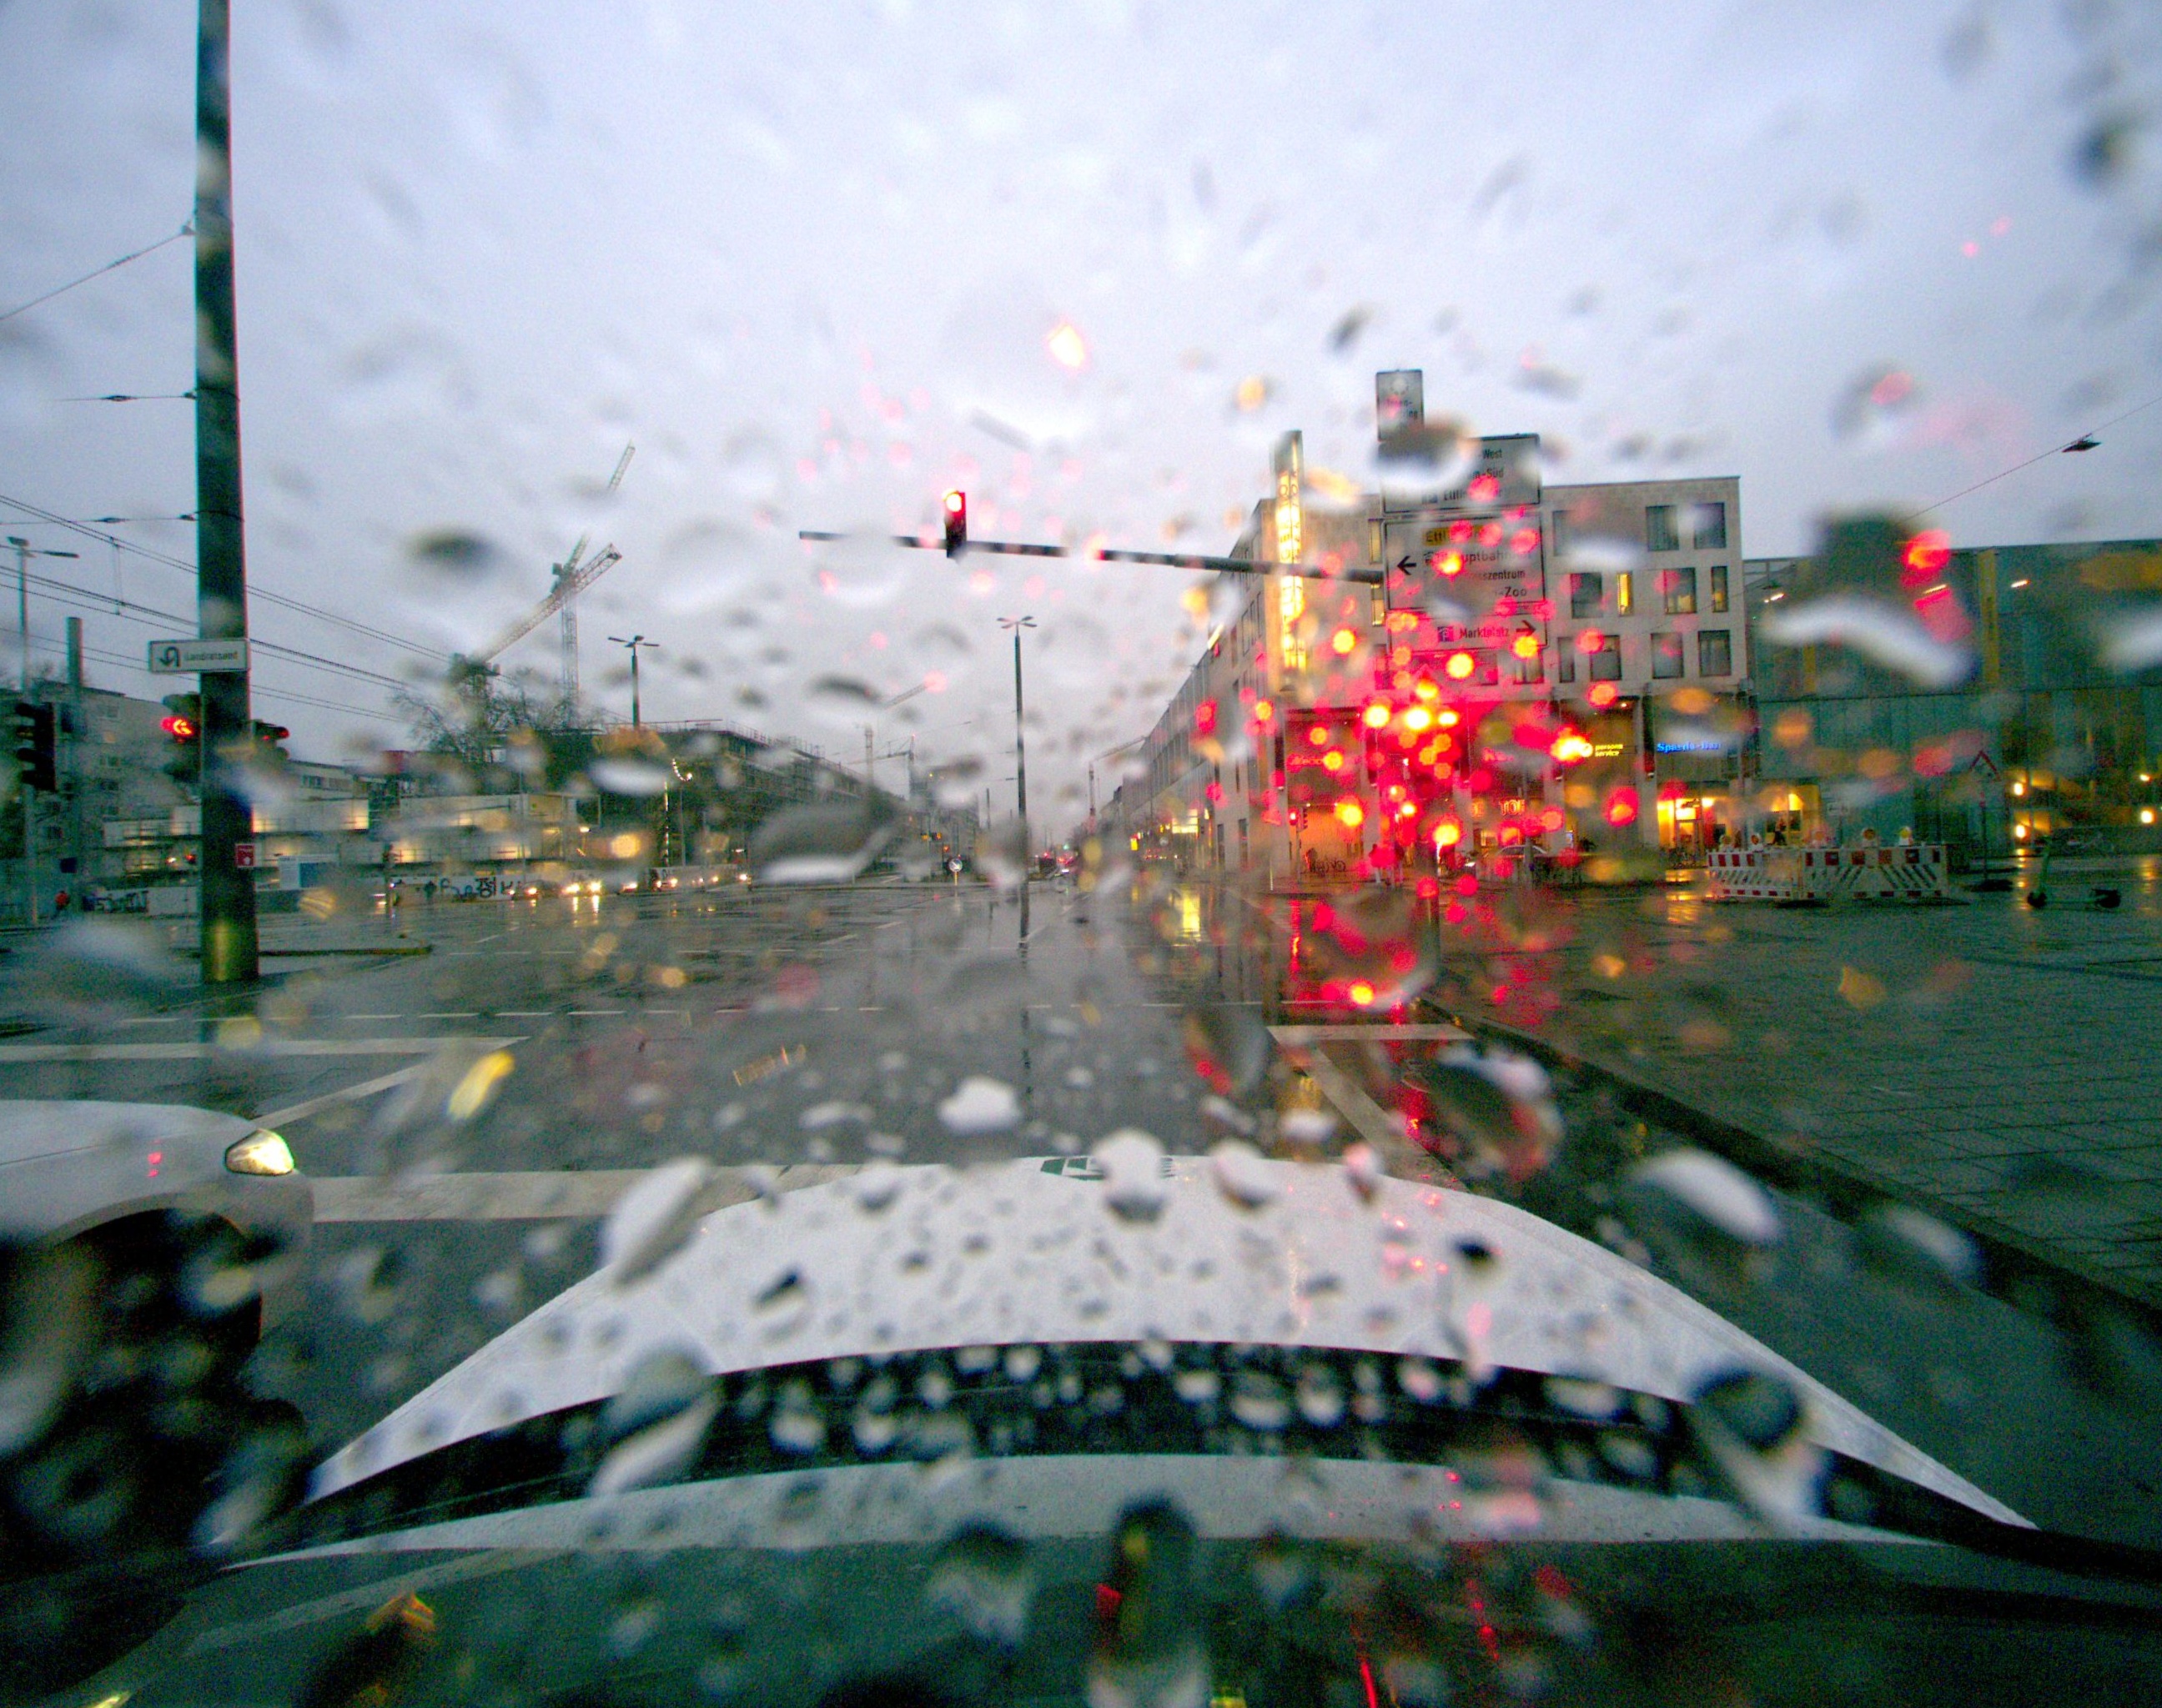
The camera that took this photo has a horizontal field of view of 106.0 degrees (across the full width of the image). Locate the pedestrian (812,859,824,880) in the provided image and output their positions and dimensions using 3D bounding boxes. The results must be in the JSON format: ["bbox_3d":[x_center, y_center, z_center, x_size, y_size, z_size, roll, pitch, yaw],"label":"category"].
[{"bbox_3d":[-23.206,1.384,71.821,0.762,1.898,0.763,0,-2,1],"label":"pedestrian"}]

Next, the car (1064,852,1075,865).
[{"bbox_3d":[-1.870,0.768,130.773,1.572,2.013,3.170,-2,0,0],"label":"car"}]

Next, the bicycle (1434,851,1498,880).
[{"bbox_3d":[19.254,0.578,40.787,2.705,1.359,0.957,-2,-1,-2],"label":"bicycle"}]

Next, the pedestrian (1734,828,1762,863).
[{"bbox_3d":[32.458,-0.426,39.640,0.737,1.684,0.783,0,-1,8],"label":"pedestrian"}]

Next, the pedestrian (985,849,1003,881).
[{"bbox_3d":[-4.986,0.633,46.657,0.826,1.831,0.778,0,-1,-29],"label":"pedestrian"}]

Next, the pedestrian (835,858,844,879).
[{"bbox_3d":[-22.221,1.321,74.945,0.696,1.881,0.553,0,-1,1],"label":"pedestrian"}]

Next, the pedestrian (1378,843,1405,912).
[{"bbox_3d":[11.173,0.845,29.316,0.687,2.441,0.758,0,-1,1],"label":"pedestrian"}]

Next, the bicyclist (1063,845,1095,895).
[{"bbox_3d":[-0.079,0.612,31.198,1.156,1.871,0.743,0,-1,-8],"label":"bicyclist"}]

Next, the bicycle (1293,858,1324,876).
[{"bbox_3d":[13.986,0.788,50.136,1.756,1.070,0.526,-1,-1,9],"label":"bicycle"}]

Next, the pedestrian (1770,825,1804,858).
[{"bbox_3d":[36.325,-0.643,41.921,1.026,1.684,0.824,0,-1,1],"label":"pedestrian"}]

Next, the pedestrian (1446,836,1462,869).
[{"bbox_3d":[23.226,-0.087,50.698,0.785,2.014,0.595,-3,-1,21],"label":"pedestrian"}]

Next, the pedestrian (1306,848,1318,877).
[{"bbox_3d":[14.047,0.500,49.527,0.596,1.745,0.526,-1,-1,10],"label":"pedestrian"}]

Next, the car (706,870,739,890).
[{"bbox_3d":[-35.270,2.526,80.215,1.992,1.790,3.989,0,-1,-8],"label":"car"}]

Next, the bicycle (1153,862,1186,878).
[{"bbox_3d":[6.673,1.206,61.495,2.434,1.154,0.674,-2,-1,0],"label":"bicycle"}]

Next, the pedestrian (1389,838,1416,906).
[{"bbox_3d":[11.767,0.640,29.815,0.691,2.448,0.792,0,-1,1],"label":"pedestrian"}]

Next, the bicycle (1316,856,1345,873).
[{"bbox_3d":[15.488,0.656,50.587,1.642,1.070,0.524,0,-1,-2],"label":"bicycle"}]

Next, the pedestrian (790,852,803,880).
[{"bbox_3d":[-24.272,1.015,69.524,0.762,2.323,0.763,0,-2,1],"label":"pedestrian"}]

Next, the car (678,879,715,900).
[{"bbox_3d":[-35.198,3.223,74.651,1.992,1.790,3.989,0,-1,-8],"label":"car"}]

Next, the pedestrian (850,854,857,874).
[{"bbox_3d":[-22.831,1.013,81.683,0.569,1.968,0.664,1,-1,-4],"label":"pedestrian"}]

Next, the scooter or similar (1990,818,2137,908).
[{"bbox_3d":[15.686,0.131,13.059,0.590,1.352,1.495,0,0,2],"label":"scooter or similar"}]

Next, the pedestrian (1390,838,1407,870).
[{"bbox_3d":[20.511,0.019,52.602,0.841,2.013,0.700,-2,0,10],"label":"pedestrian"}]

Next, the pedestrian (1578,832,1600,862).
[{"bbox_3d":[29.375,-0.397,47.095,0.890,1.684,0.528,-2,-1,1],"label":"pedestrian"}]

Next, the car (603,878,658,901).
[{"bbox_3d":[-34.274,2.639,62.079,2.074,1.530,4.603,-2,0,-8],"label":"car"}]

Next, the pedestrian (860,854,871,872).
[{"bbox_3d":[-24.162,1.048,91.414,0.939,2.014,1.094,0,-1,0],"label":"pedestrian"}]

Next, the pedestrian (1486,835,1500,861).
[{"bbox_3d":[28.053,-0.416,55.423,0.728,1.718,0.743,-3,-1,29],"label":"pedestrian"}]

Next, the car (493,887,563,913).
[{"bbox_3d":[-38.580,3.190,56.925,1.986,1.530,4.001,-2,0,2],"label":"car"}]

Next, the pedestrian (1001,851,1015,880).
[{"bbox_3d":[-4.347,0.690,48.254,0.605,1.686,0.581,-1,-1,44],"label":"pedestrian"}]

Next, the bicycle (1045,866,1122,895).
[{"bbox_3d":[0.095,1.006,31.215,2.854,1.099,0.743,0,-1,-8],"label":"bicycle"}]

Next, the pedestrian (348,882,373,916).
[{"bbox_3d":[-43.571,2.709,49.250,0.781,2.014,0.748,0,-1,6],"label":"pedestrian"}]

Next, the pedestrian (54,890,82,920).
[{"bbox_3d":[-62.351,3.143,50.119,0.786,1.776,0.726,-2,-1,8],"label":"pedestrian"}]

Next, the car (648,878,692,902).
[{"bbox_3d":[-34.586,2.996,68.638,1.862,1.828,3.993,0,-1,-5],"label":"car"}]

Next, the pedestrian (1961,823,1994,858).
[{"bbox_3d":[44.005,-0.657,39.977,0.737,1.684,0.783,0,-1,8],"label":"pedestrian"}]

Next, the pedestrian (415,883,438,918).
[{"bbox_3d":[-42.514,3.011,52.878,0.872,2.165,0.763,0,-1,-7],"label":"pedestrian"}]

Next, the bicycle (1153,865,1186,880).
[{"bbox_3d":[6.757,1.403,62.449,2.417,1.099,0.712,-2,-1,0],"label":"bicycle"}]

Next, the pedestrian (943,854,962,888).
[{"bbox_3d":[-7.540,0.997,47.740,0.776,2.014,0.732,-1,-1,44],"label":"pedestrian"}]

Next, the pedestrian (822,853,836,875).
[{"bbox_3d":[-23.835,0.930,77.102,0.939,2.014,1.094,0,-1,0],"label":"pedestrian"}]

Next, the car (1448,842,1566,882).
[{"bbox_3d":[18.012,0.344,34.572,3.970,1.618,2.001,0,-1,3],"label":"car"}]

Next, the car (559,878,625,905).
[{"bbox_3d":[-33.712,2.566,56.281,1.986,1.657,4.001,-2,0,2],"label":"car"}]

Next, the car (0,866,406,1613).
[{"bbox_3d":[-3.223,0.810,0.318,2.010,1.487,4.561,-2,0,1],"label":"car"}]

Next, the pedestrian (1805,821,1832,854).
[{"bbox_3d":[40.603,-0.907,44.829,0.782,1.739,0.779,-3,-1,17],"label":"pedestrian"}]

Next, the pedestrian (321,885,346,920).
[{"bbox_3d":[-44.379,2.885,48.377,0.861,2.014,0.624,0,-1,-6],"label":"pedestrian"}]

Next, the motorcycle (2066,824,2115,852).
[{"bbox_3d":[48.253,-0.755,38.924,1.482,1.352,0.595,0,0,5],"label":"motorcycle"}]

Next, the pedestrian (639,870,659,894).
[{"bbox_3d":[-25.176,1.610,47.432,0.723,1.388,0.727,-1,-1,14],"label":"pedestrian"}]

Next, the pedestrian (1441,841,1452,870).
[{"bbox_3d":[21.431,0.069,47.731,0.480,1.663,0.460,-3,-1,32],"label":"pedestrian"}]

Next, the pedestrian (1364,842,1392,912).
[{"bbox_3d":[10.493,0.808,28.805,0.712,2.441,0.758,0,-1,1],"label":"pedestrian"}]

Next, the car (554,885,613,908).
[{"bbox_3d":[-38.946,3.296,63.858,1.986,1.530,4.001,-2,0,2],"label":"car"}]
